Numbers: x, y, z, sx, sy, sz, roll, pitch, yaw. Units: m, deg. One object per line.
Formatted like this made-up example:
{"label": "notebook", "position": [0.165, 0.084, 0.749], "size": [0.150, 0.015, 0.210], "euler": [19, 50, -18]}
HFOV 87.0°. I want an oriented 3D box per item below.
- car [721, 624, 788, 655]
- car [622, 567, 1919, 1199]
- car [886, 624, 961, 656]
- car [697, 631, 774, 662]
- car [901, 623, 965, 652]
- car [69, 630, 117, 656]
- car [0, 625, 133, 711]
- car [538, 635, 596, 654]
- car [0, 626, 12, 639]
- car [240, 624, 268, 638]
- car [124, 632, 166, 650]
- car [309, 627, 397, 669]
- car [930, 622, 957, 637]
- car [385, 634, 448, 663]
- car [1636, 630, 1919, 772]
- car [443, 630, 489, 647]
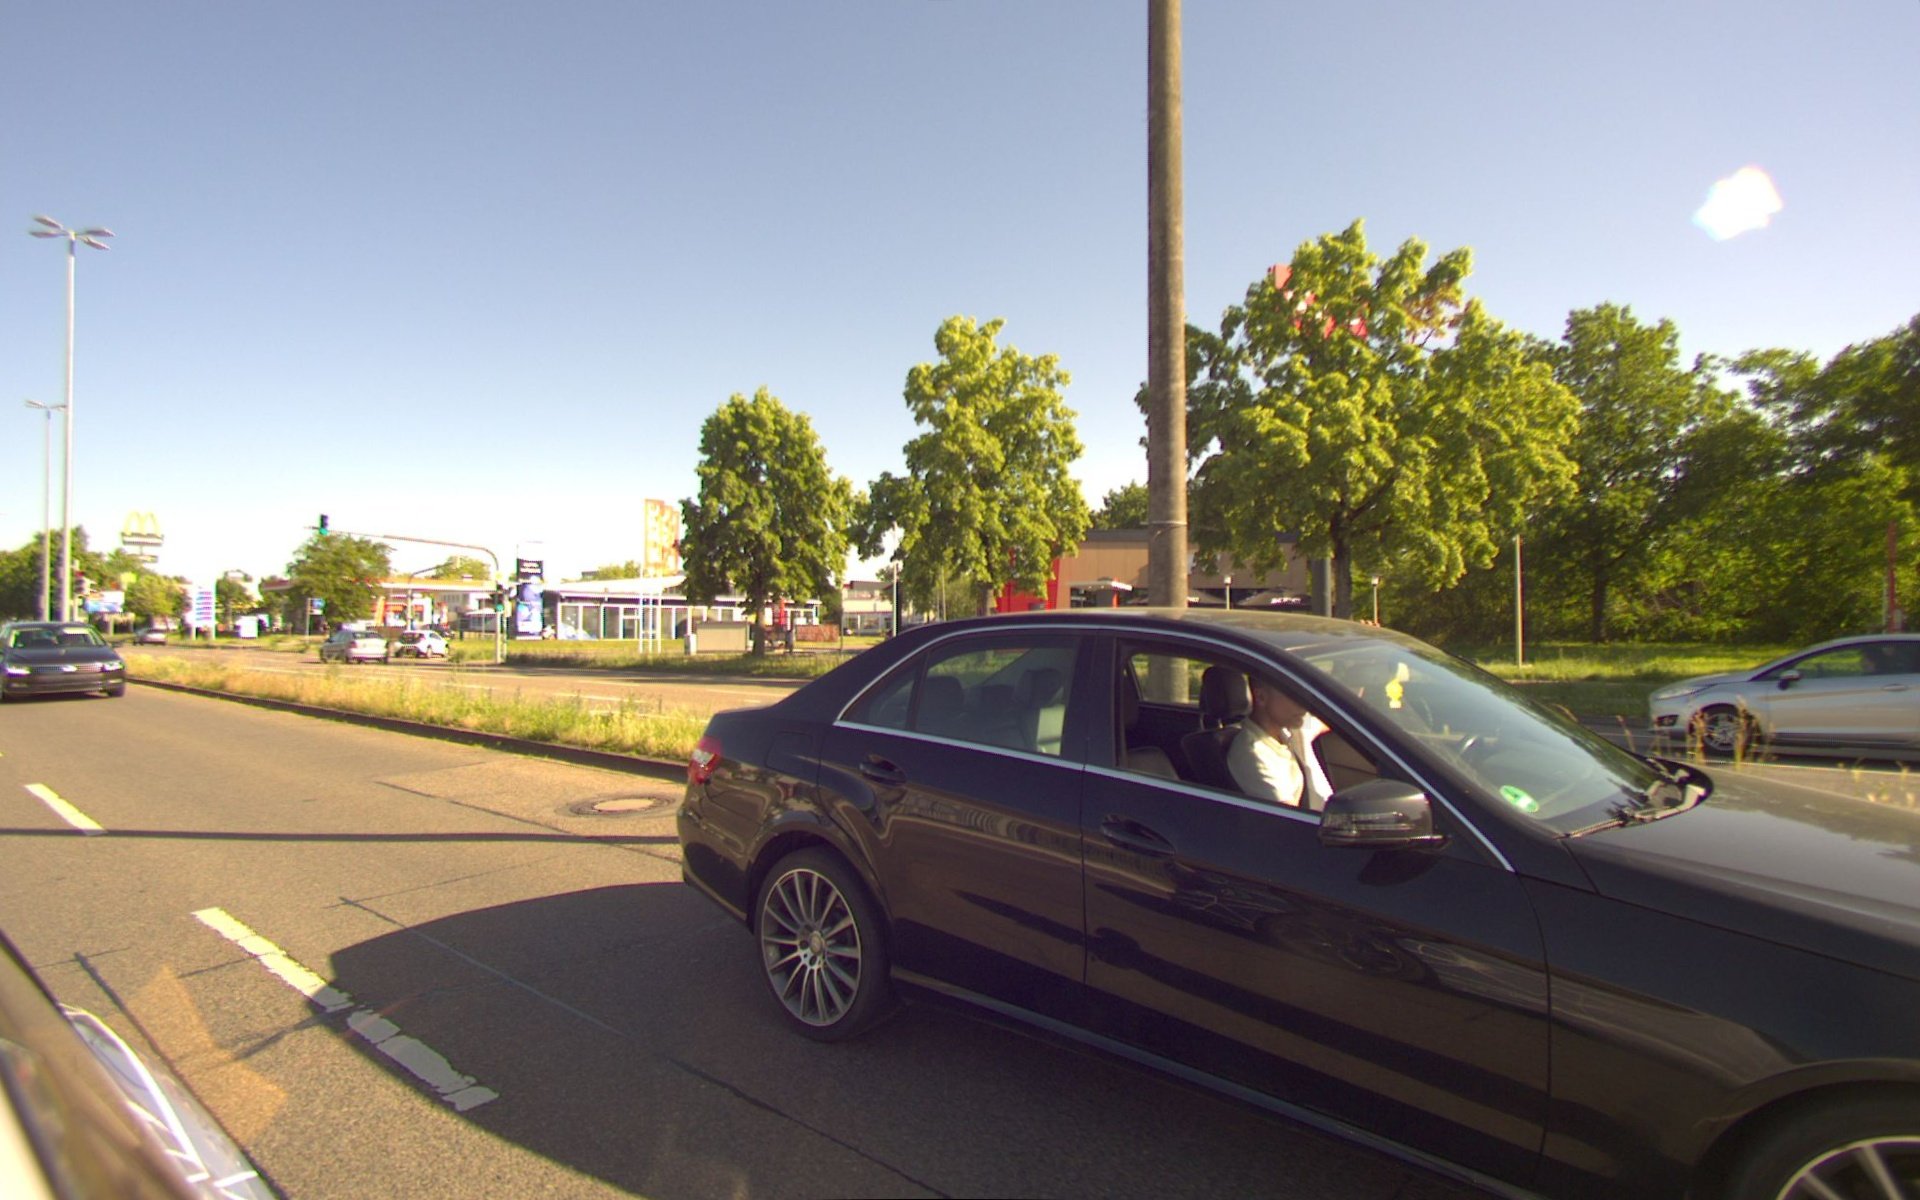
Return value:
{"label": "car", "position": [-12.714, 2.446, 62.830], "size": [3.778, 1.864, 1.847], "euler": [-1, -1, 1]}
{"label": "car", "position": [1.107, 0.735, 3.170], "size": [4.916, 1.494, 1.938], "euler": [-2, -2, 42]}
{"label": "car", "position": [-2.101, 2.265, 57.625], "size": [4.181, 1.674, 1.896], "euler": [-1, -1, -1]}
{"label": "car", "position": [-12.910, 2.655, 58.416], "size": [4.073, 1.674, 1.896], "euler": [-1, -1, -1]}
{"label": "car", "position": [-1.736, 2.371, 64.068], "size": [3.940, 1.762, 1.885], "euler": [0, -2, -4]}
{"label": "car", "position": [-59.488, 2.928, 69.421], "size": [4.168, 1.654, 1.855], "euler": [-1, -4, 41]}
{"label": "car", "position": [-17.568, 1.239, 19.550], "size": [4.264, 1.464, 1.824], "euler": [-2, -2, 42]}
{"label": "car", "position": [-32.348, 3.685, 83.401], "size": [1.900, 1.443, 4.063], "euler": [-1, -4, 41]}
{"label": "car", "position": [-126.584, 4.284, 133.472], "size": [4.265, 1.612, 1.875], "euler": [-1, -4, 42]}
{"label": "car", "position": [-87.248, 3.847, 125.112], "size": [4.116, 1.625, 1.740], "euler": [-1, -3, 40]}
{"label": "car", "position": [-68.750, 3.436, 85.315], "size": [4.620, 1.387, 1.973], "euler": [-1, -2, 41]}
{"label": "car", "position": [-25.746, 2.021, 42.894], "size": [4.175, 1.697, 1.973], "euler": [-1, -3, 41]}
{"label": "car", "position": [-2.445, 4.468, 153.271], "size": [4.063, 2.109, 1.900], "euler": [1, -3, 1]}
{"label": "car", "position": [-29.689, 2.618, 55.387], "size": [1.967, 1.485, 4.206], "euler": [1, -2, -13]}
{"label": "car", "position": [10.226, 1.113, 11.473], "size": [4.109, 1.462, 1.624], "euler": [-1, -4, 41]}
{"label": "car", "position": [-41.009, 3.161, 83.978], "size": [4.116, 1.335, 1.876], "euler": [-1, -3, 40]}
